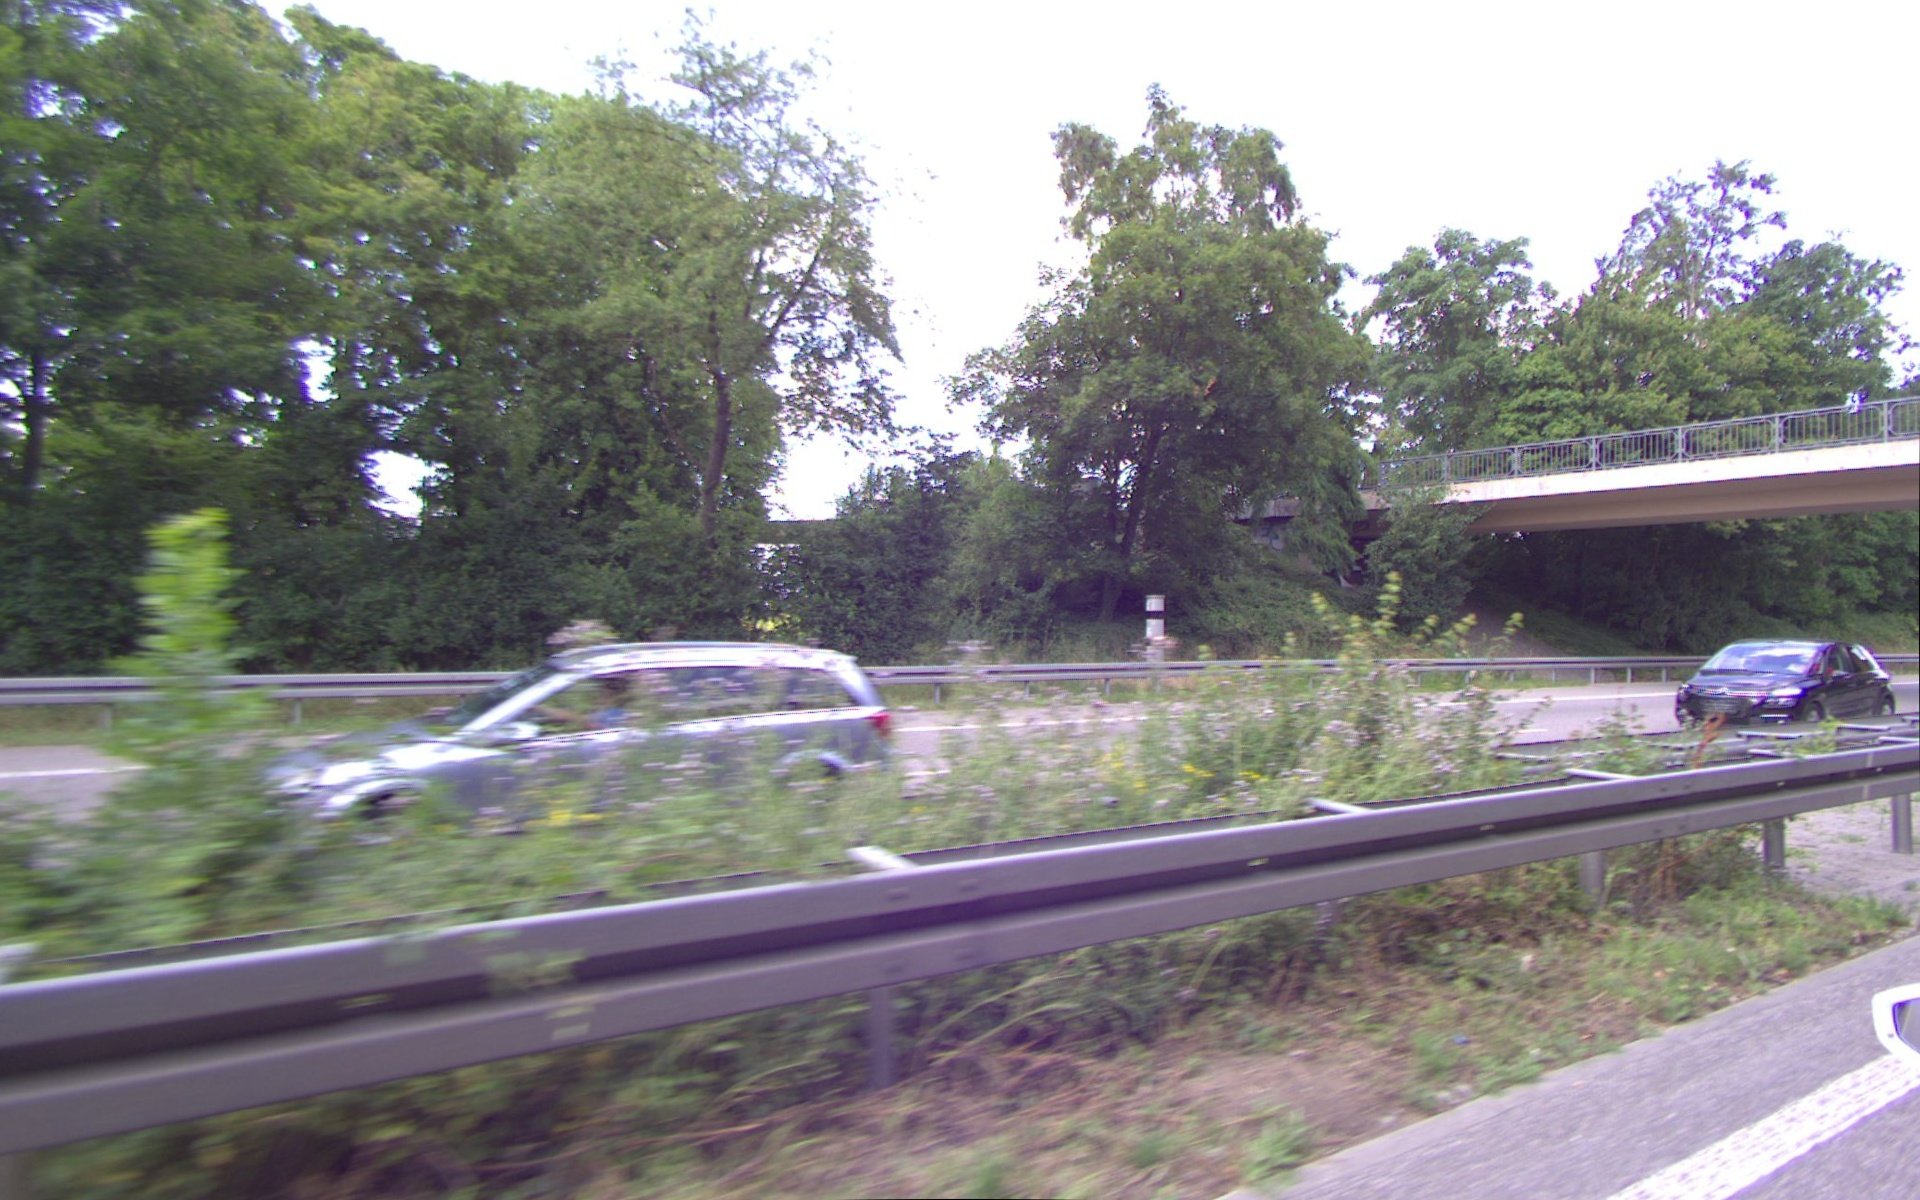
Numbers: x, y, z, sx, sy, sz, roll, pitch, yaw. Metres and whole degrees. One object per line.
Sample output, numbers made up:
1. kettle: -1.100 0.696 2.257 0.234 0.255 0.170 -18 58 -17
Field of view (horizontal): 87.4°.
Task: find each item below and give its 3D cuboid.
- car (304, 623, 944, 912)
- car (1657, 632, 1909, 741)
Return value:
1. car: -2.337 0.993 7.444 4.090 1.608 1.812 1 -1 -30
2. car: 13.926 1.362 16.949 4.512 1.610 1.856 1 -1 -30
